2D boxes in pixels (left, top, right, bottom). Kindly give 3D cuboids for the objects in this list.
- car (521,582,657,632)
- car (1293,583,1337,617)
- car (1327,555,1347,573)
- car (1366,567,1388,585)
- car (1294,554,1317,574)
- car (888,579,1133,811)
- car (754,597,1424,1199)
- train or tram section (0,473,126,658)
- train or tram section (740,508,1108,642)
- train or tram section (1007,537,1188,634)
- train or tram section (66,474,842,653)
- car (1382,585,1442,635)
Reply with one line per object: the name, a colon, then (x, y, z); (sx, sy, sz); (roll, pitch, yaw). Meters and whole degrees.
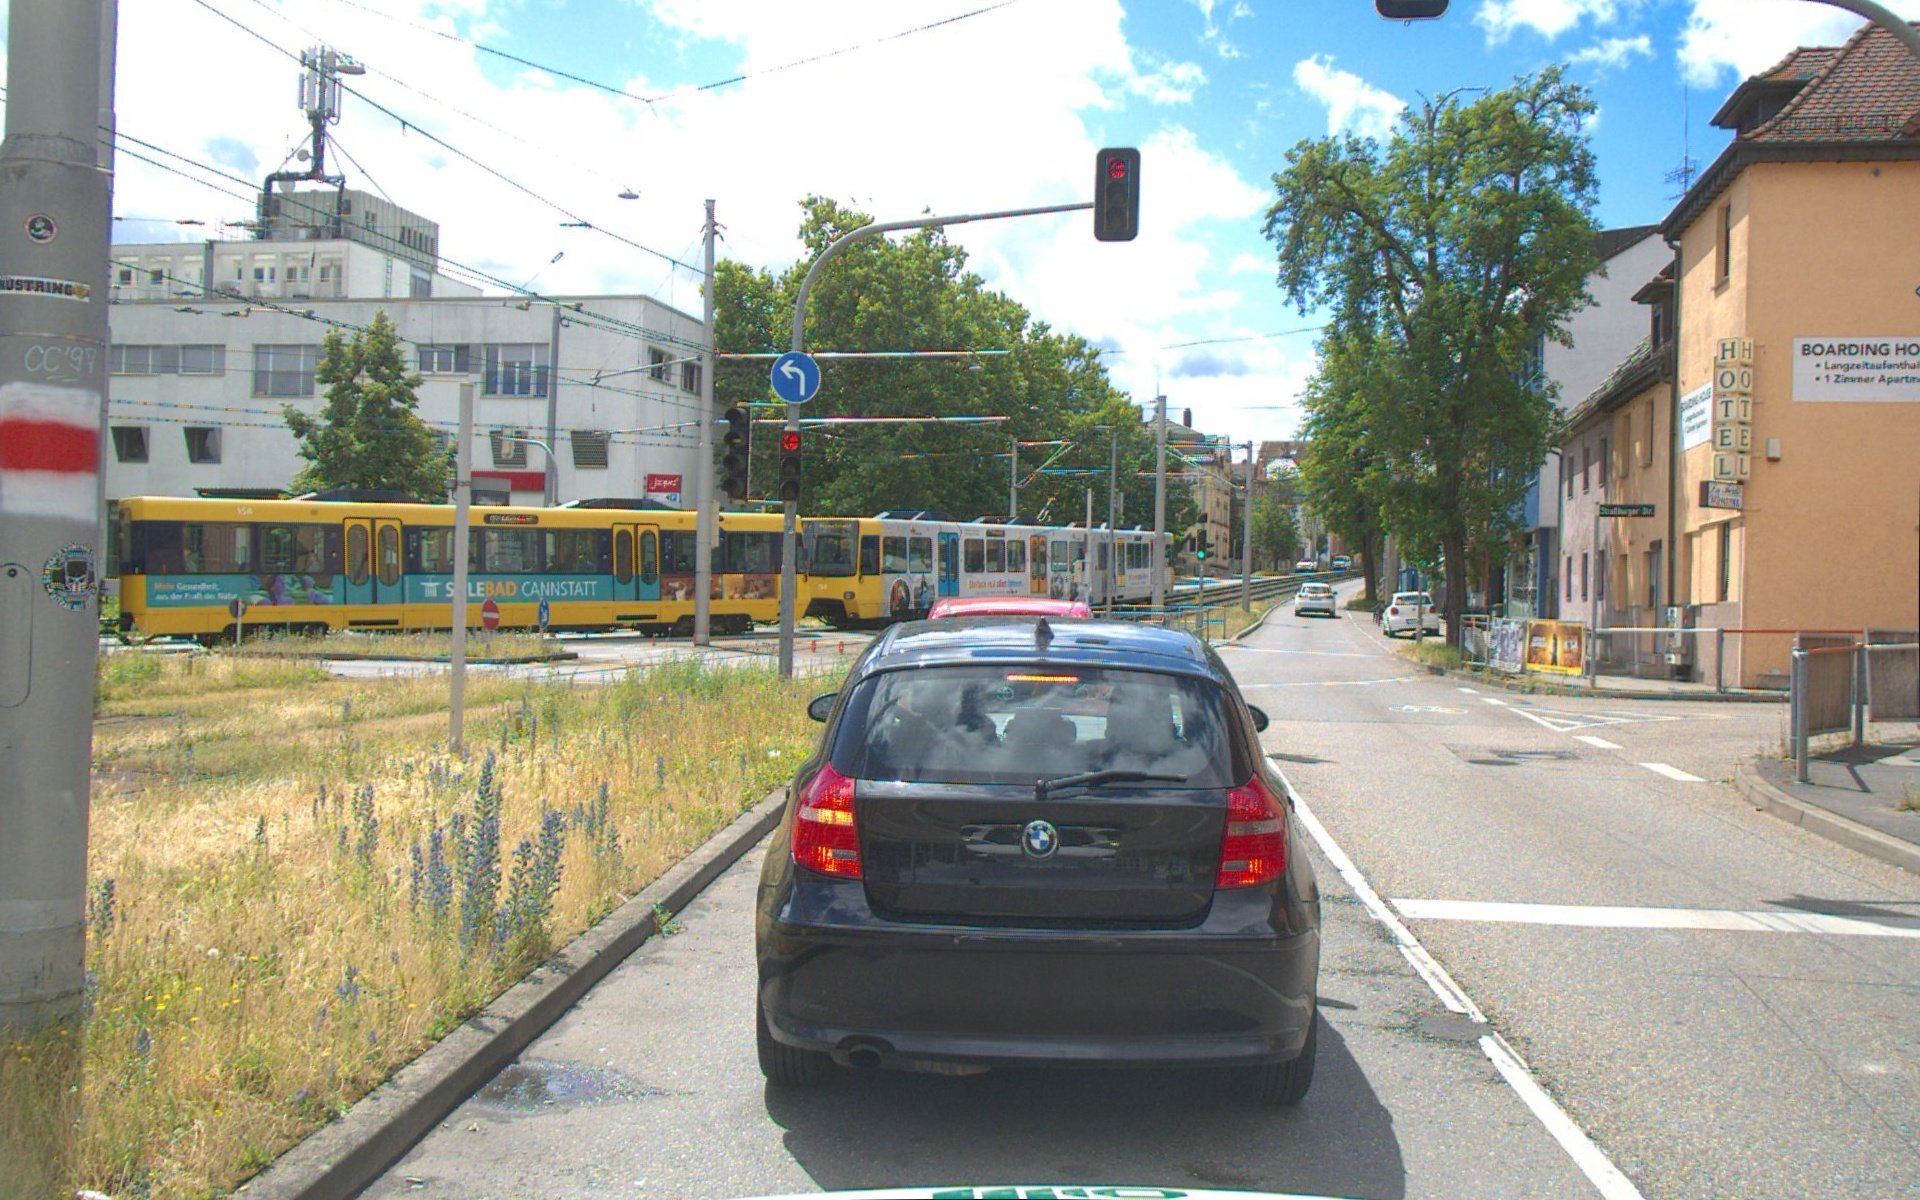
car: (-12.414, 0.248, 55.482); (4.138, 1.613, 1.828); (0, -1, -45)
car: (16.126, -0.031, 75.250); (1.776, 1.494, 4.004); (0, 0, 9)
car: (47.382, -4.507, 207.835); (1.952, 2.049, 4.000); (-1, -1, 21)
car: (37.874, -2.182, 150.292); (1.777, 1.494, 4.003); (3, 1, 13)
car: (39.383, -4.084, 188.407); (1.952, 2.049, 4.000); (-1, -1, 21)
car: (0.518, 0.637, 12.763); (1.590, 1.499, 4.002); (0, -1, 6)
car: (0.227, 0.757, 6.109); (1.667, 1.477, 3.997); (0, -1, -3)
train or tram section: (-28.197, -0.717, 34.876); (18.551, 3.988, 3.740); (0, -1, -20)
train or tram section: (-0.365, -0.642, 58.831); (3.677, 3.947, 20.608); (-1, -1, 27)
train or tram section: (6.840, -0.474, 76.599); (3.671, 3.881, 20.058); (-1, -1, 18)
train or tram section: (-12.277, -0.741, 43.962); (19.960, 3.896, 3.707); (0, -1, -40)
car: (15.314, 0.361, 56.221); (1.749, 1.624, 4.003); (0, -1, 12)
